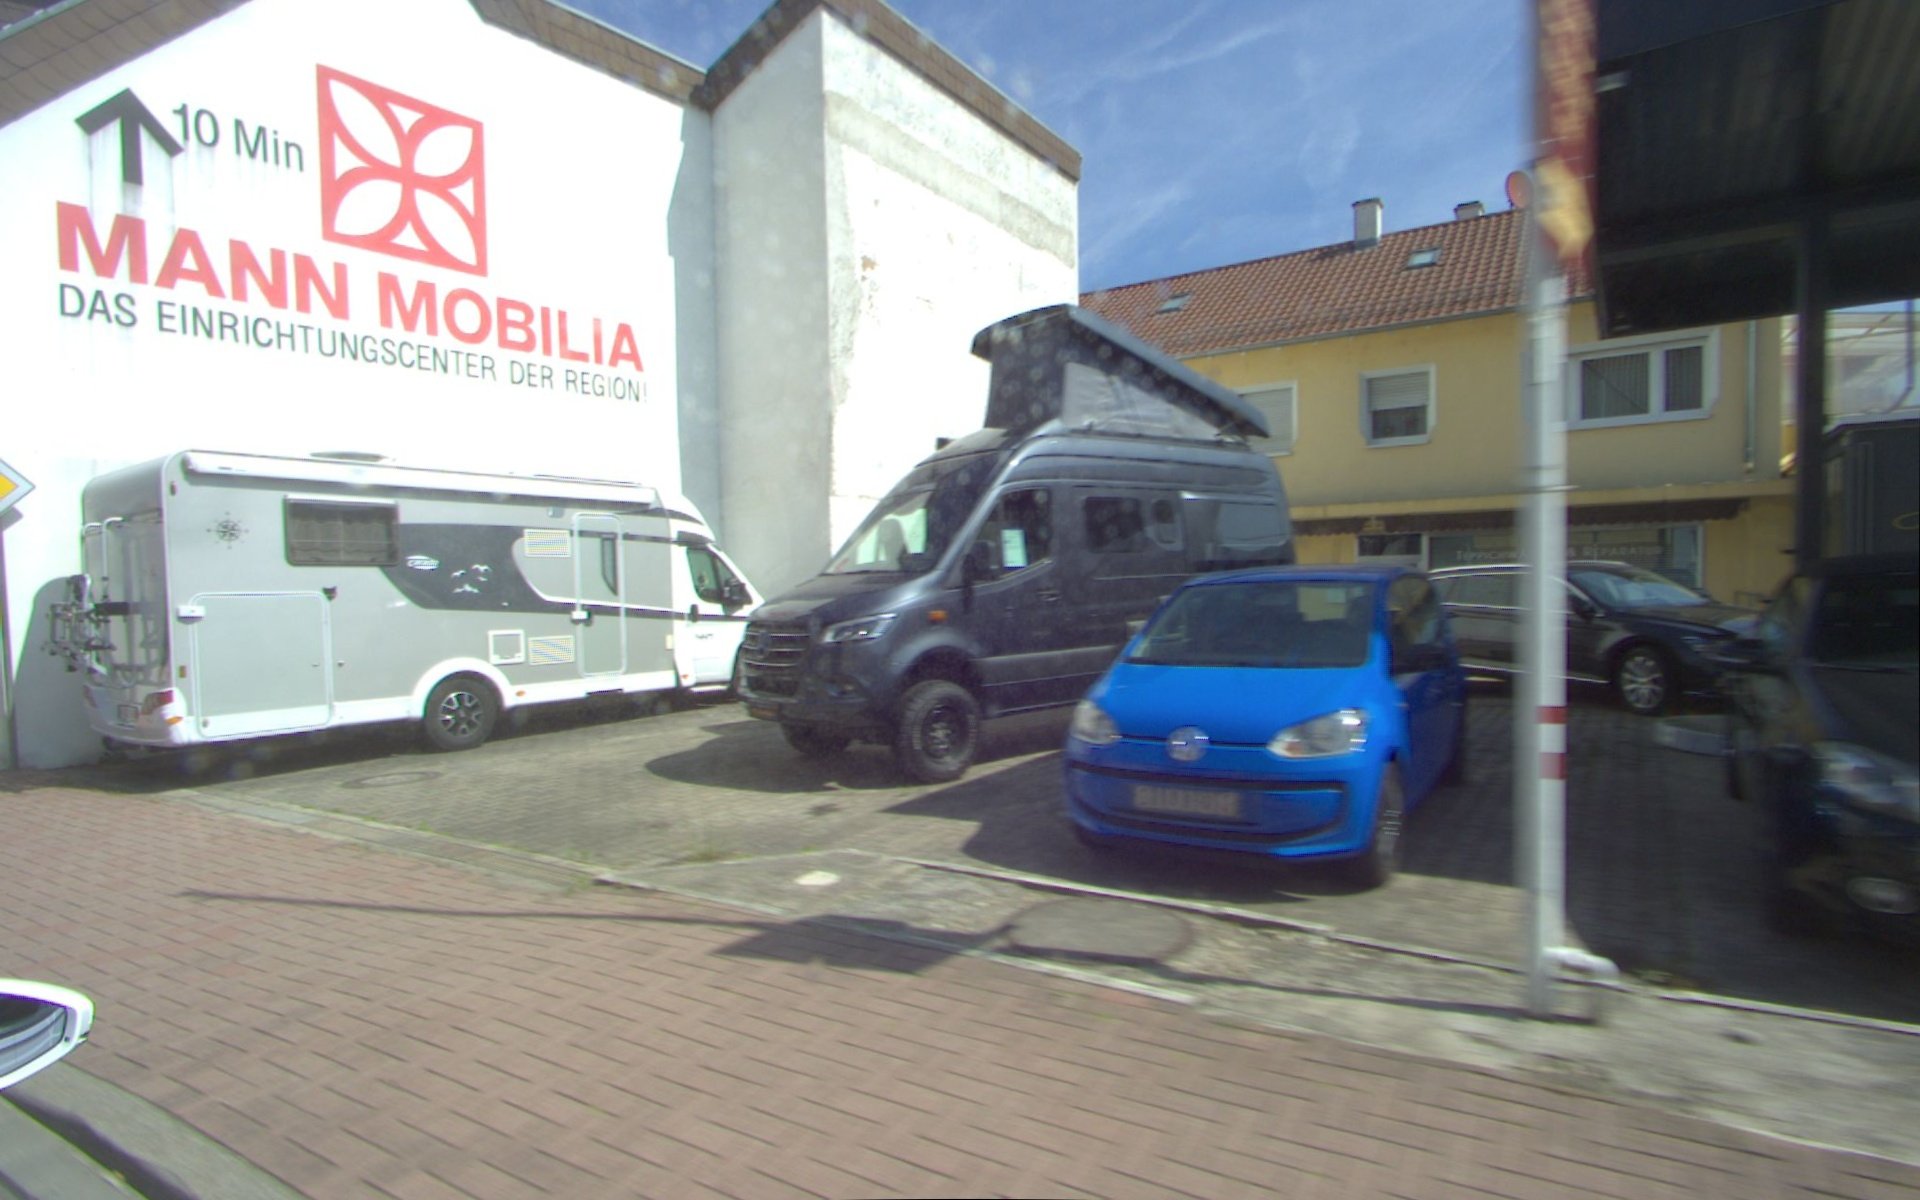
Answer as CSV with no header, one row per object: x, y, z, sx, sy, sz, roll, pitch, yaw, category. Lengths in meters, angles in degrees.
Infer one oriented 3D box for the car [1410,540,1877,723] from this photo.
6.831,0.276,10.555,1.696,1.545,3.863,0,0,-17,car

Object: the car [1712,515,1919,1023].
4.403,0.453,4.355,1.705,1.501,4.146,0,1,36,car

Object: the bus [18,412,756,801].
-5.476,-0.028,10.888,2.200,2.944,6.542,-1,1,35,bus

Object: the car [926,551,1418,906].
1.597,0.530,6.346,1.562,1.549,3.784,0,1,38,car

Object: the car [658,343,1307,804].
0.519,-0.228,9.325,5.907,3.027,2.299,-2,1,-38,car
